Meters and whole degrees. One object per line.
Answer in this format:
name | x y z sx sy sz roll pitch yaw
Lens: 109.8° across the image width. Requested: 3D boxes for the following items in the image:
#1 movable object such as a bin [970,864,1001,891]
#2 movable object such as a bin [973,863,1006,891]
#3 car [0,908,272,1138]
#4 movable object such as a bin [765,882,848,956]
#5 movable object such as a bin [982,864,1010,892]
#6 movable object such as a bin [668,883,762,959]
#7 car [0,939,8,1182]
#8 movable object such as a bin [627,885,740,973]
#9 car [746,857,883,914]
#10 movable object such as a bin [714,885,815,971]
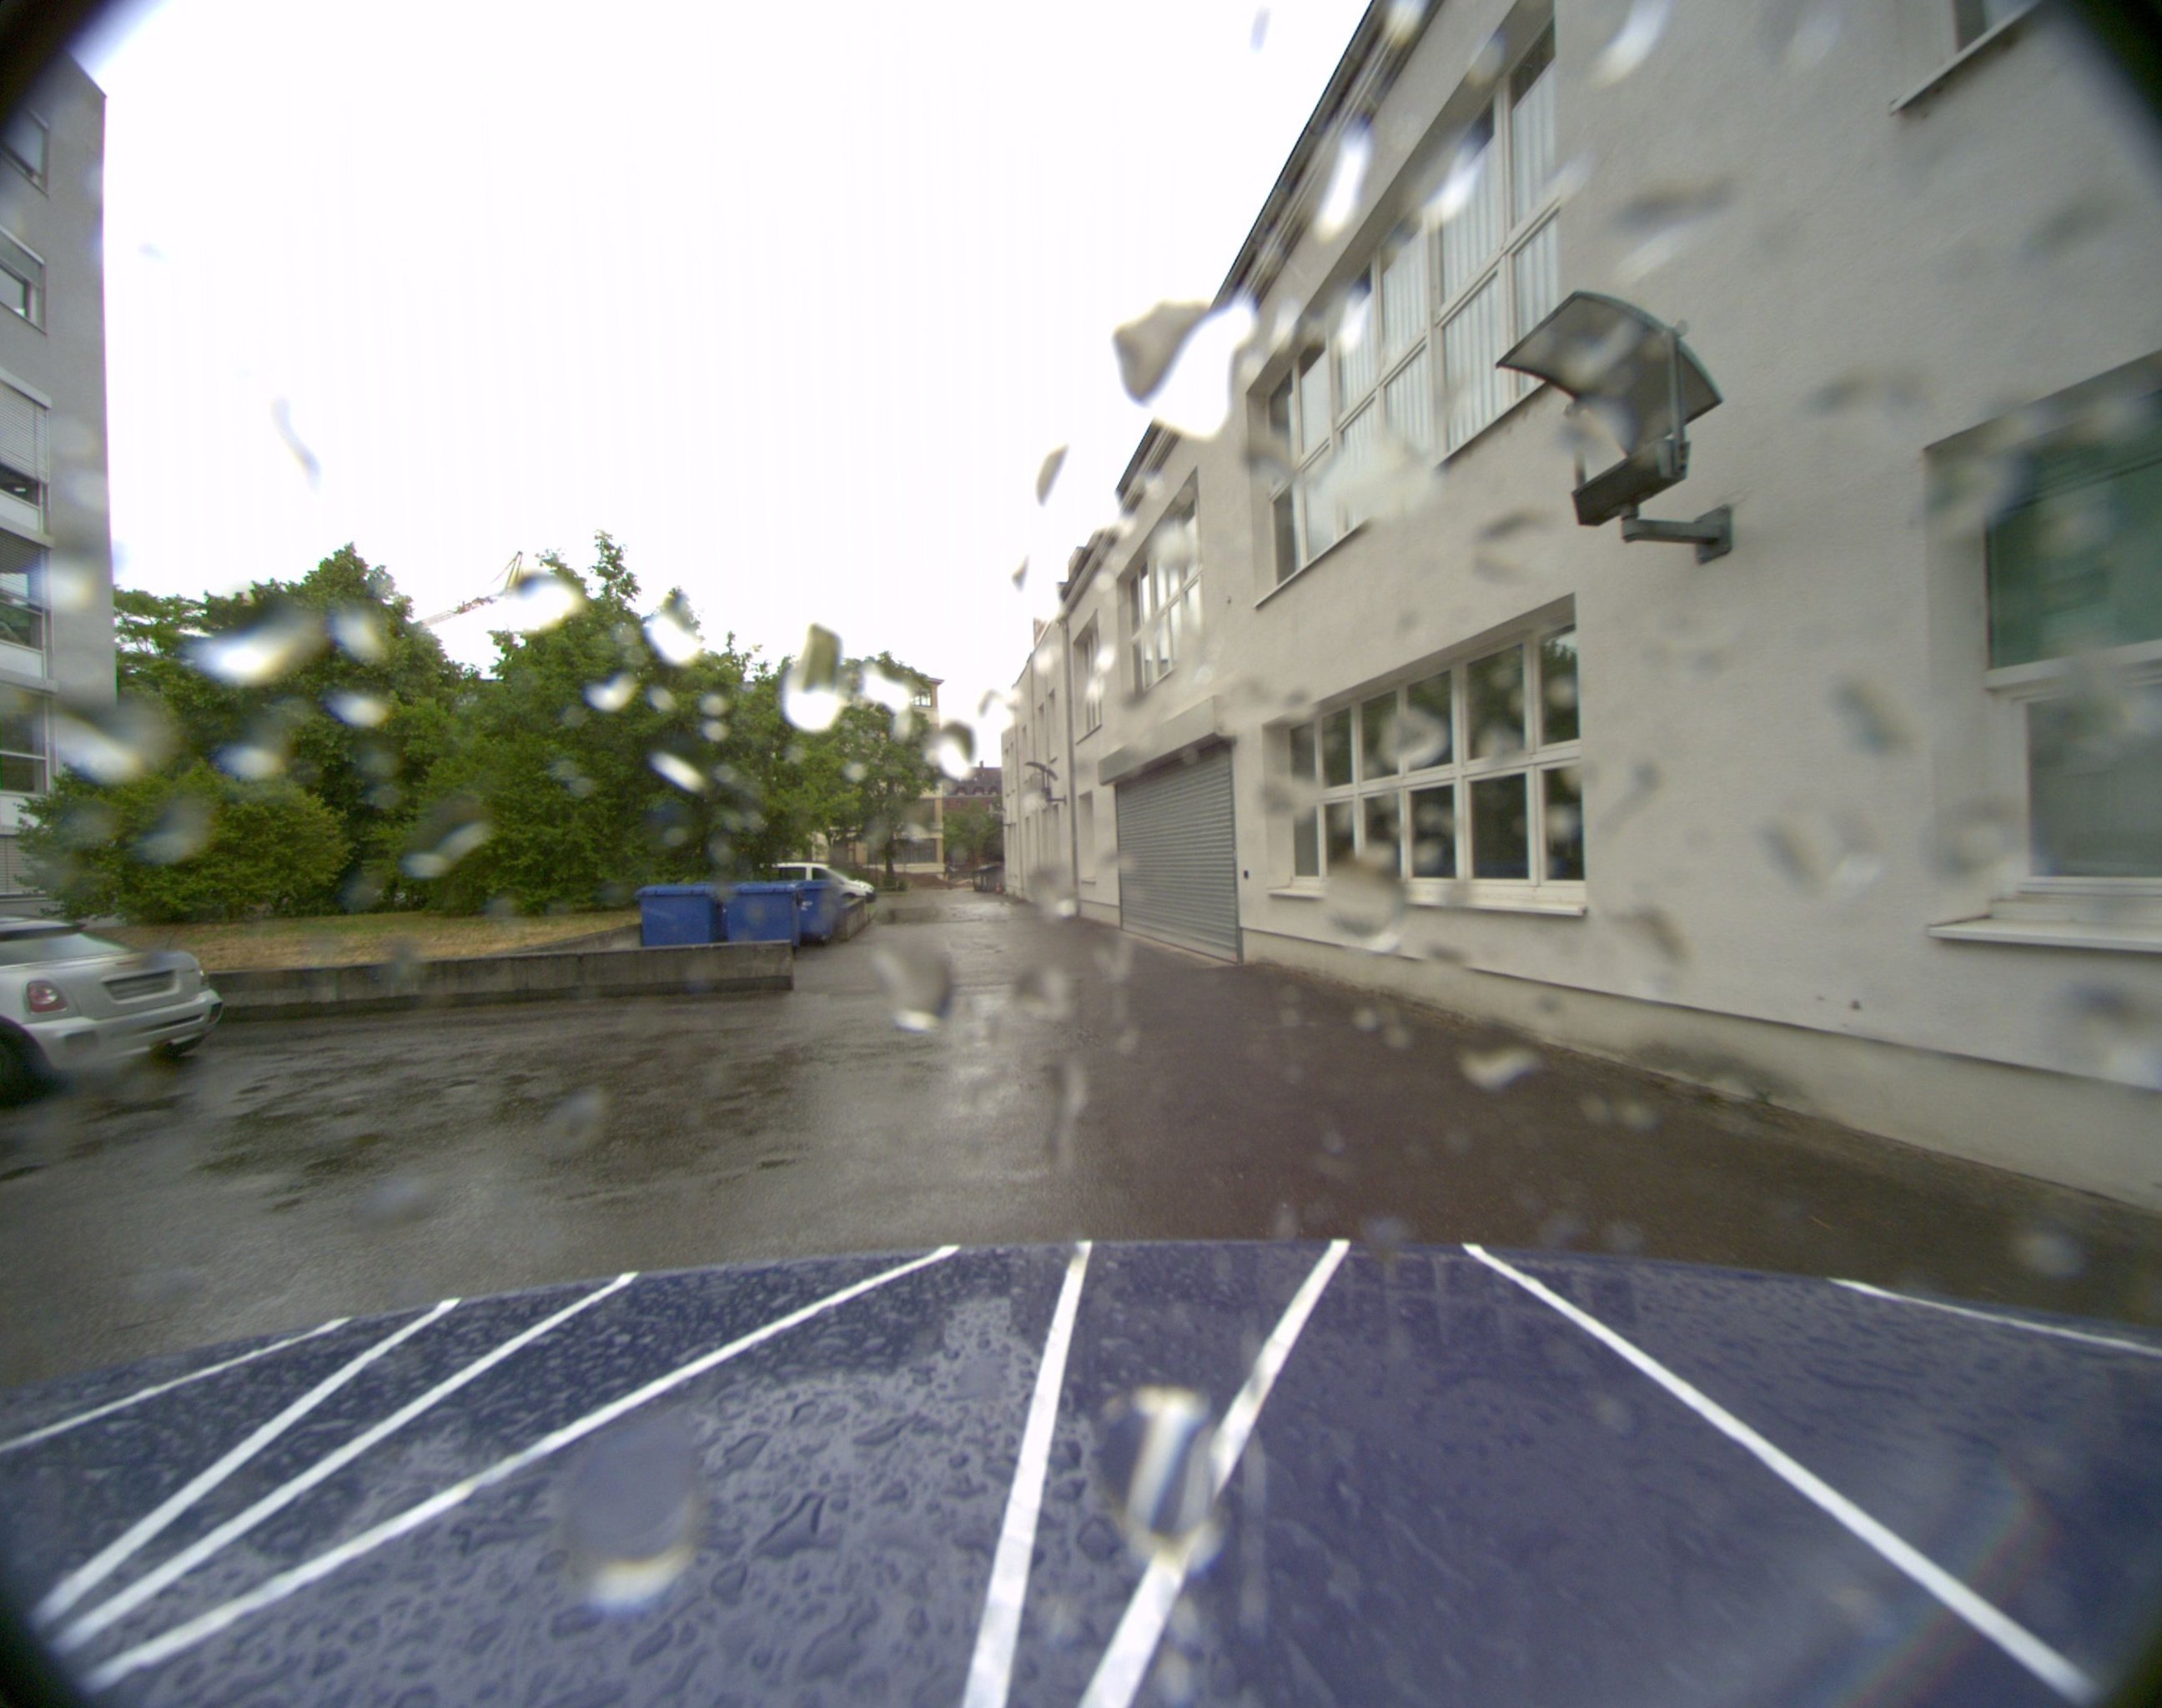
movable object such as a bin | -5.469 1.341 43.362 1.493 1.439 1.312 -3 -2 -17
movable object such as a bin | -5.088 1.305 42.069 1.493 1.439 1.312 -3 -2 -17
car | -9.491 1.231 5.724 4.223 1.480 1.998 0 -1 -14
movable object such as a bin | -5.614 1.302 15.701 1.314 1.349 1.904 -3 -2 -13
movable object such as a bin | -4.535 1.293 40.622 1.189 1.365 1.312 -3 -2 -17
movable object such as a bin | -7.344 1.308 15.396 1.234 1.349 1.969 -3 -2 -13
car | -8.017 1.194 2.868 4.223 1.480 1.998 -2 -1 -16
movable object such as a bin | -6.945 1.263 13.438 1.234 1.349 1.969 -3 -2 -13
car | -10.352 1.240 29.840 4.698 1.870 2.122 -3 -3 -10
movable object such as a bin | -5.653 1.282 13.732 1.314 1.349 1.904 -3 -2 -13
